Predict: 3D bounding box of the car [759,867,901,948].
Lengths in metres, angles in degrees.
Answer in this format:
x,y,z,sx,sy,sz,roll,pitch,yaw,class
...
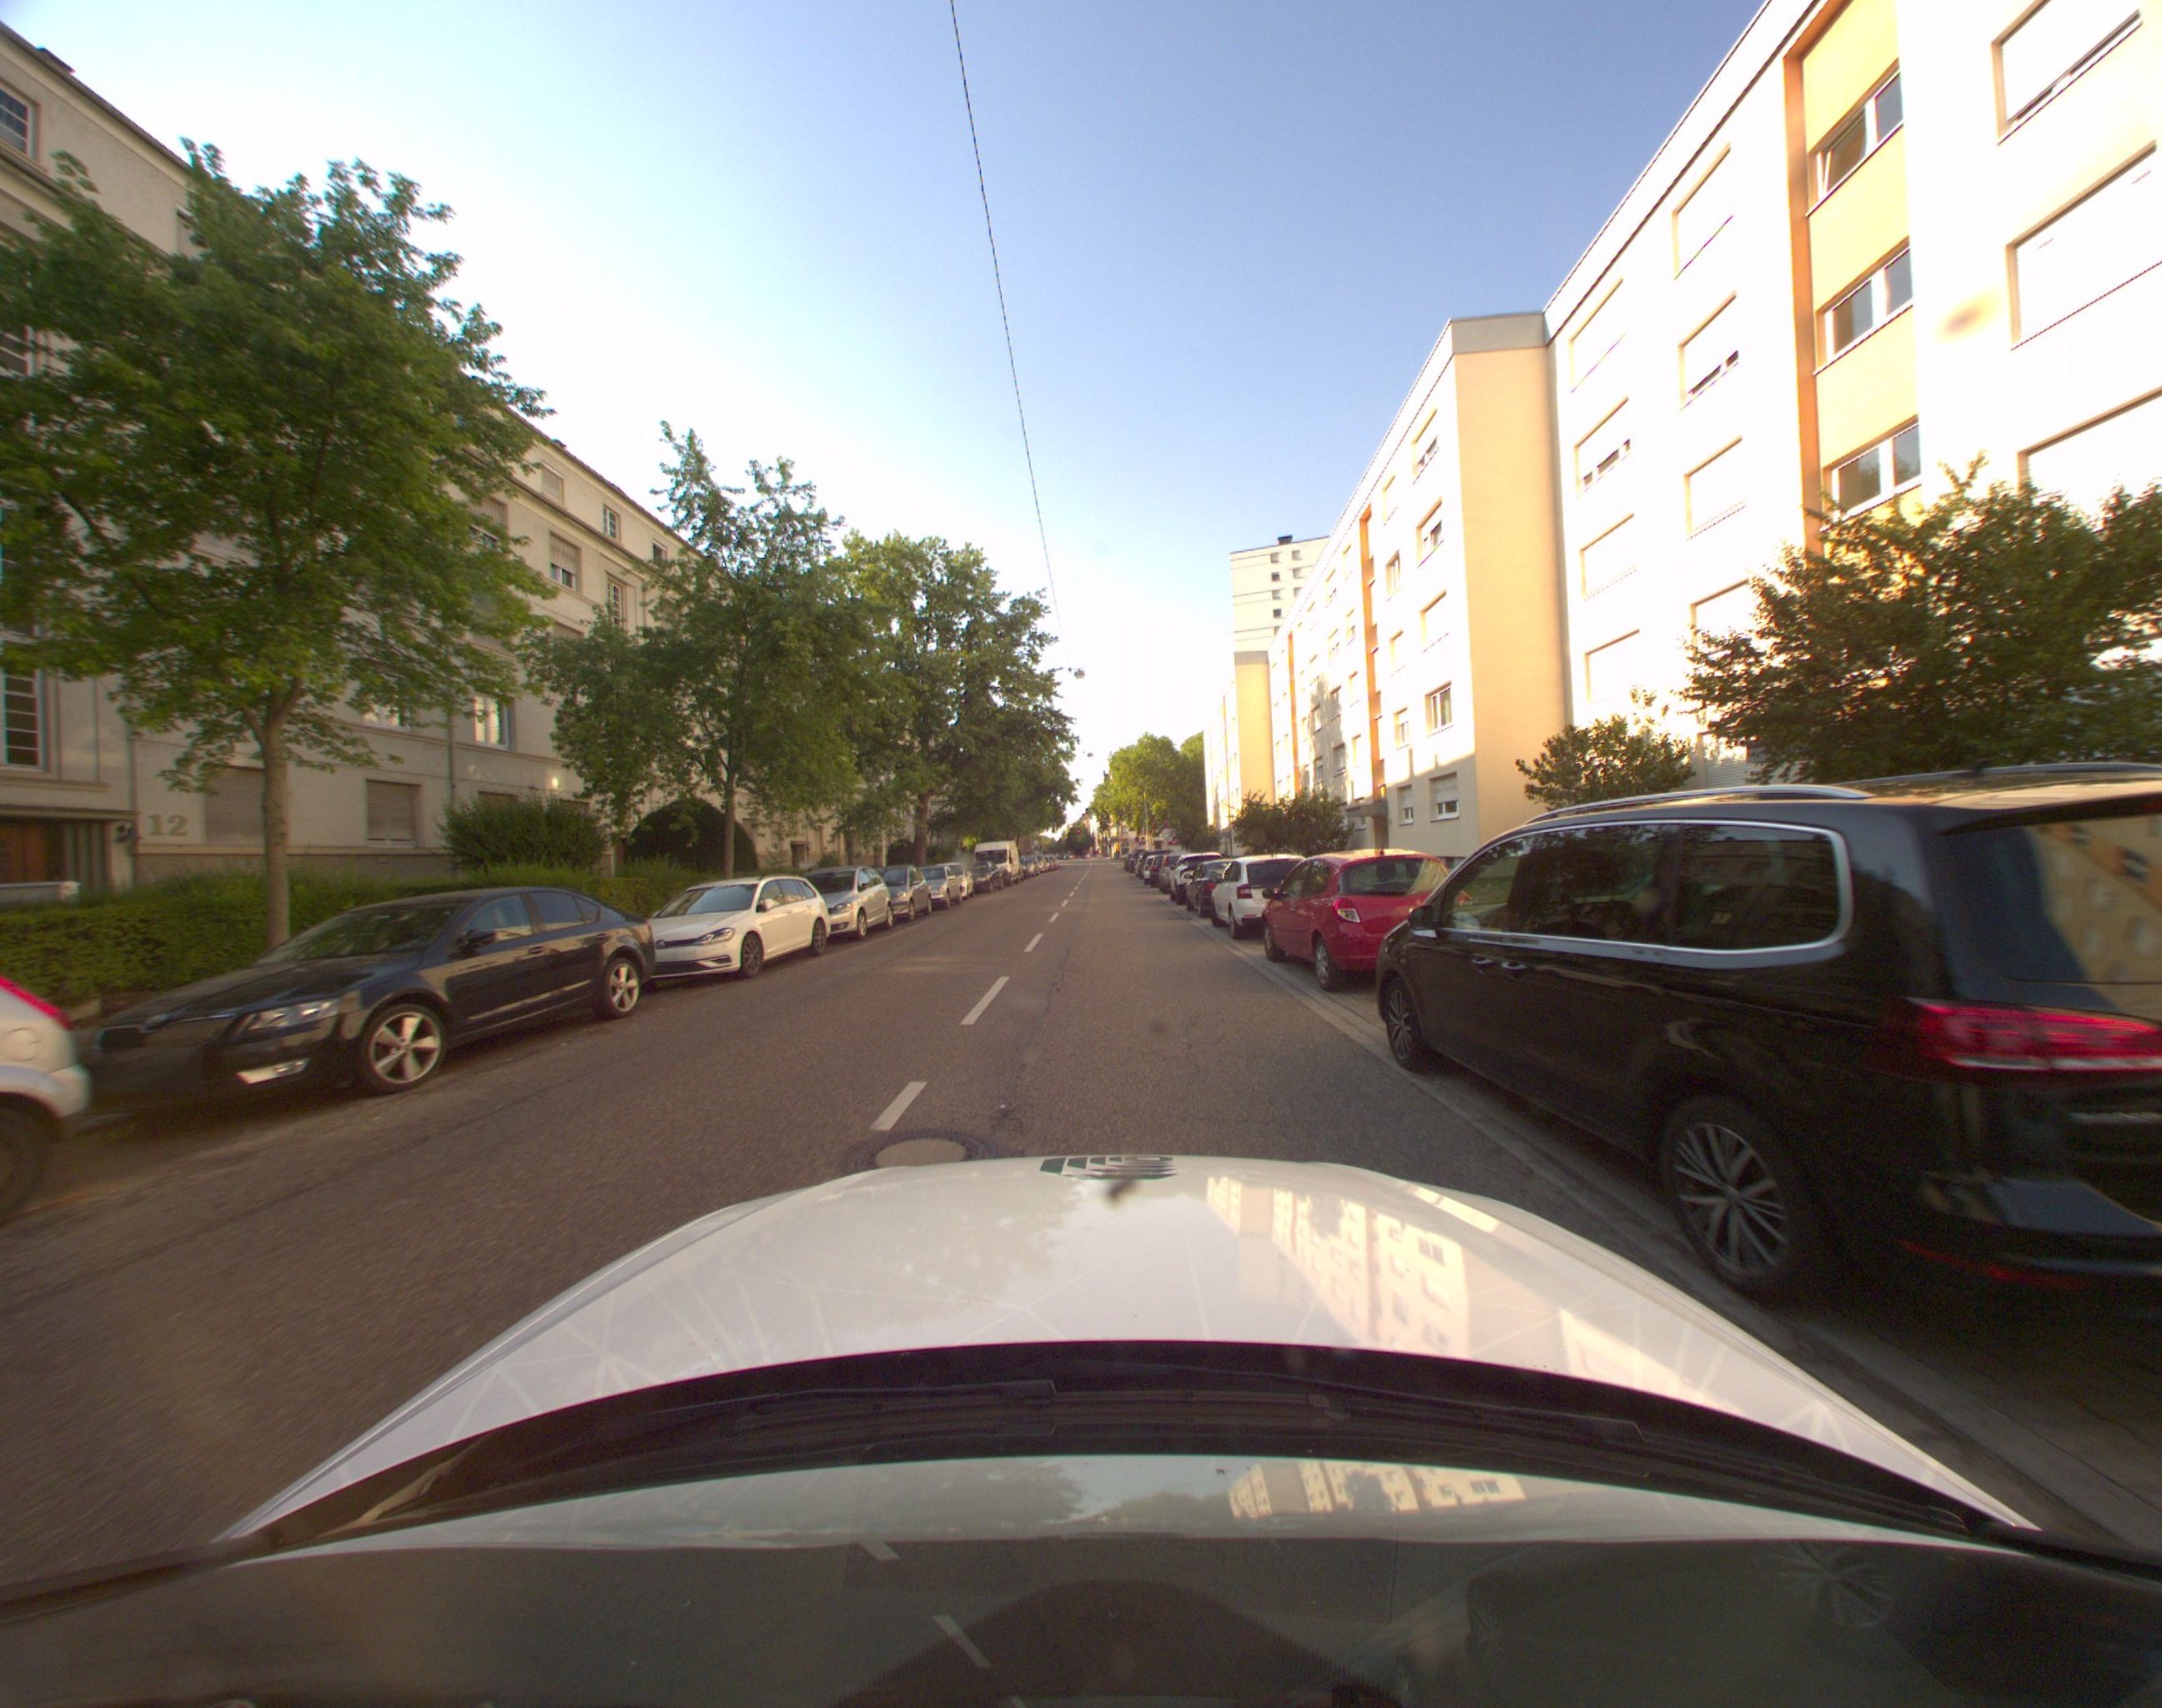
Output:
x,y,z,sx,sy,sz,roll,pitch,yaw,class
-5.356,1.076,17.943,1.867,1.552,3.999,-1,-1,0,car

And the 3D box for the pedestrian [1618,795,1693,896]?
x,y,z,sx,sy,sz,roll,pitch,yaw,class
9.928,-0.147,14.095,0.763,1.658,0.536,-5,-1,1,pedestrian

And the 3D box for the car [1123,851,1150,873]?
x,y,z,sx,sy,sz,roll,pitch,yaw,class
4.431,0.606,65.708,1.891,1.651,4.343,-3,0,1,car

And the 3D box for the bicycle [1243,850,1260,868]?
x,y,z,sx,sy,sz,roll,pitch,yaw,class
11.088,0.312,53.041,0.598,1.081,2.394,-3,1,2,bicycle

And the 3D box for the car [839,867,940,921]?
x,y,z,sx,sy,sz,roll,pitch,yaw,class
-5.237,1.048,22.786,1.867,1.355,3.999,-1,-1,0,car

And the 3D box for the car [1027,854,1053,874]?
x,y,z,sx,sy,sz,roll,pitch,yaw,class
-3.588,0.888,72.444,1.909,1.677,4.975,-1,-1,1,car

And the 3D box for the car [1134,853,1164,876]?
x,y,z,sx,sy,sz,roll,pitch,yaw,class
4.442,0.716,53.635,1.673,1.415,4.725,-1,-1,1,car

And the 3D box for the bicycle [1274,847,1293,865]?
x,y,z,sx,sy,sz,roll,pitch,yaw,class
13.212,0.126,53.166,0.598,1.081,2.394,-3,1,2,bicycle

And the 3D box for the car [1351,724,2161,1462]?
x,y,z,sx,sy,sz,roll,pitch,yaw,class
3.030,0.546,4.202,1.765,1.677,4.648,-3,-1,1,car

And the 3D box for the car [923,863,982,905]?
x,y,z,sx,sy,sz,roll,pitch,yaw,class
-5.076,1.159,32.543,1.701,1.574,3.262,-1,-1,2,car

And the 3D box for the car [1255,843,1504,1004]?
x,y,z,sx,sy,sz,roll,pitch,yaw,class
3.488,0.742,10.357,1.765,1.616,4.001,-1,-1,1,car

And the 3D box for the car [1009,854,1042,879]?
x,y,z,sx,sy,sz,roll,pitch,yaw,class
-4.089,0.885,61.013,1.864,1.558,5.058,-7,0,1,car

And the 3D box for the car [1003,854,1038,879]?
x,y,z,sx,sy,sz,roll,pitch,yaw,class
-4.011,0.838,54.645,1.864,1.558,4.366,-1,-1,1,car

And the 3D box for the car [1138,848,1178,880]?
x,y,z,sx,sy,sz,roll,pitch,yaw,class
4.490,0.574,48.145,2.017,1.750,4.767,-1,-1,1,car

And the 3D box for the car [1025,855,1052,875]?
x,y,z,sx,sy,sz,roll,pitch,yaw,class
-3.514,0.901,67.473,1.864,1.558,4.102,-1,-1,1,car

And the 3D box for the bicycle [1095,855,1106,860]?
x,y,z,sx,sy,sz,roll,pitch,yaw,class
5.002,0.811,210.064,2.799,1.203,0.509,-1,-1,-6,bicycle

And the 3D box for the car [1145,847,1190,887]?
x,y,z,sx,sy,sz,roll,pitch,yaw,class
3.991,0.601,38.180,1.830,1.772,3.980,-1,-1,2,car

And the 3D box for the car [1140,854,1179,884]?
x,y,z,sx,sy,sz,roll,pitch,yaw,class
4.066,0.781,42.836,1.830,1.501,4.175,-1,-1,3,car

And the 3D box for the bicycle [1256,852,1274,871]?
x,y,z,sx,sy,sz,roll,pitch,yaw,class
11.967,0.467,52.995,0.598,1.081,2.394,-3,1,2,bicycle

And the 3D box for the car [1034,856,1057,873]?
x,y,z,sx,sy,sz,roll,pitch,yaw,class
-3.369,0.988,77.408,1.864,1.558,4.498,-1,-1,1,car

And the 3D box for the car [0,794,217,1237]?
x,y,z,sx,sy,sz,roll,pitch,yaw,class
-5.978,0.795,2.593,1.986,2.013,4.001,-5,-1,2,car

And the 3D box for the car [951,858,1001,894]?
x,y,z,sx,sy,sz,roll,pitch,yaw,class
-4.788,0.992,37.653,1.701,1.574,3.820,-1,-1,2,car

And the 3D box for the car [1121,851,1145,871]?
x,y,z,sx,sy,sz,roll,pitch,yaw,class
4.534,0.619,71.533,1.920,1.659,4.678,-1,-1,1,car

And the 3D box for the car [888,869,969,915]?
x,y,z,sx,sy,sz,roll,pitch,yaw,class
-5.069,1.228,27.654,1.867,1.355,4.652,-1,-1,0,car

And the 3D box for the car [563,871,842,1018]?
x,y,z,sx,sy,sz,roll,pitch,yaw,class
-5.523,1.220,12.697,1.996,1.551,4.476,-1,3,3,car

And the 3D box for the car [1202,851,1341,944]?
x,y,z,sx,sy,sz,roll,pitch,yaw,class
3.525,0.761,15.770,1.765,1.454,4.001,-4,-1,1,car

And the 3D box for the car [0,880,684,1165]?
x,y,z,sx,sy,sz,roll,pitch,yaw,class
-5.684,1.080,7.219,1.868,1.434,4.802,-5,-1,0,car

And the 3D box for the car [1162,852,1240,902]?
x,y,z,sx,sy,sz,roll,pitch,yaw,class
3.766,0.721,26.184,1.867,1.442,3.999,-1,-1,0,car

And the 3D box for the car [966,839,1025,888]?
x,y,z,sx,sy,sz,roll,pitch,yaw,class
-4.573,0.529,44.707,2.349,2.445,6.167,-1,-1,2,car

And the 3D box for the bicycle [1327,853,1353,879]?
x,y,z,sx,sy,sz,roll,pitch,yaw,class
12.050,0.533,37.949,0.491,1.113,2.397,-7,-1,5,bicycle

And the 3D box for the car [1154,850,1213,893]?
x,y,z,sx,sy,sz,roll,pitch,yaw,class
4.117,0.700,33.229,1.955,1.605,4.280,-1,-1,2,car

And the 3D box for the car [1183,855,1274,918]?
x,y,z,sx,sy,sz,roll,pitch,yaw,class
3.694,0.789,21.043,1.655,1.438,4.314,-1,-1,1,car
